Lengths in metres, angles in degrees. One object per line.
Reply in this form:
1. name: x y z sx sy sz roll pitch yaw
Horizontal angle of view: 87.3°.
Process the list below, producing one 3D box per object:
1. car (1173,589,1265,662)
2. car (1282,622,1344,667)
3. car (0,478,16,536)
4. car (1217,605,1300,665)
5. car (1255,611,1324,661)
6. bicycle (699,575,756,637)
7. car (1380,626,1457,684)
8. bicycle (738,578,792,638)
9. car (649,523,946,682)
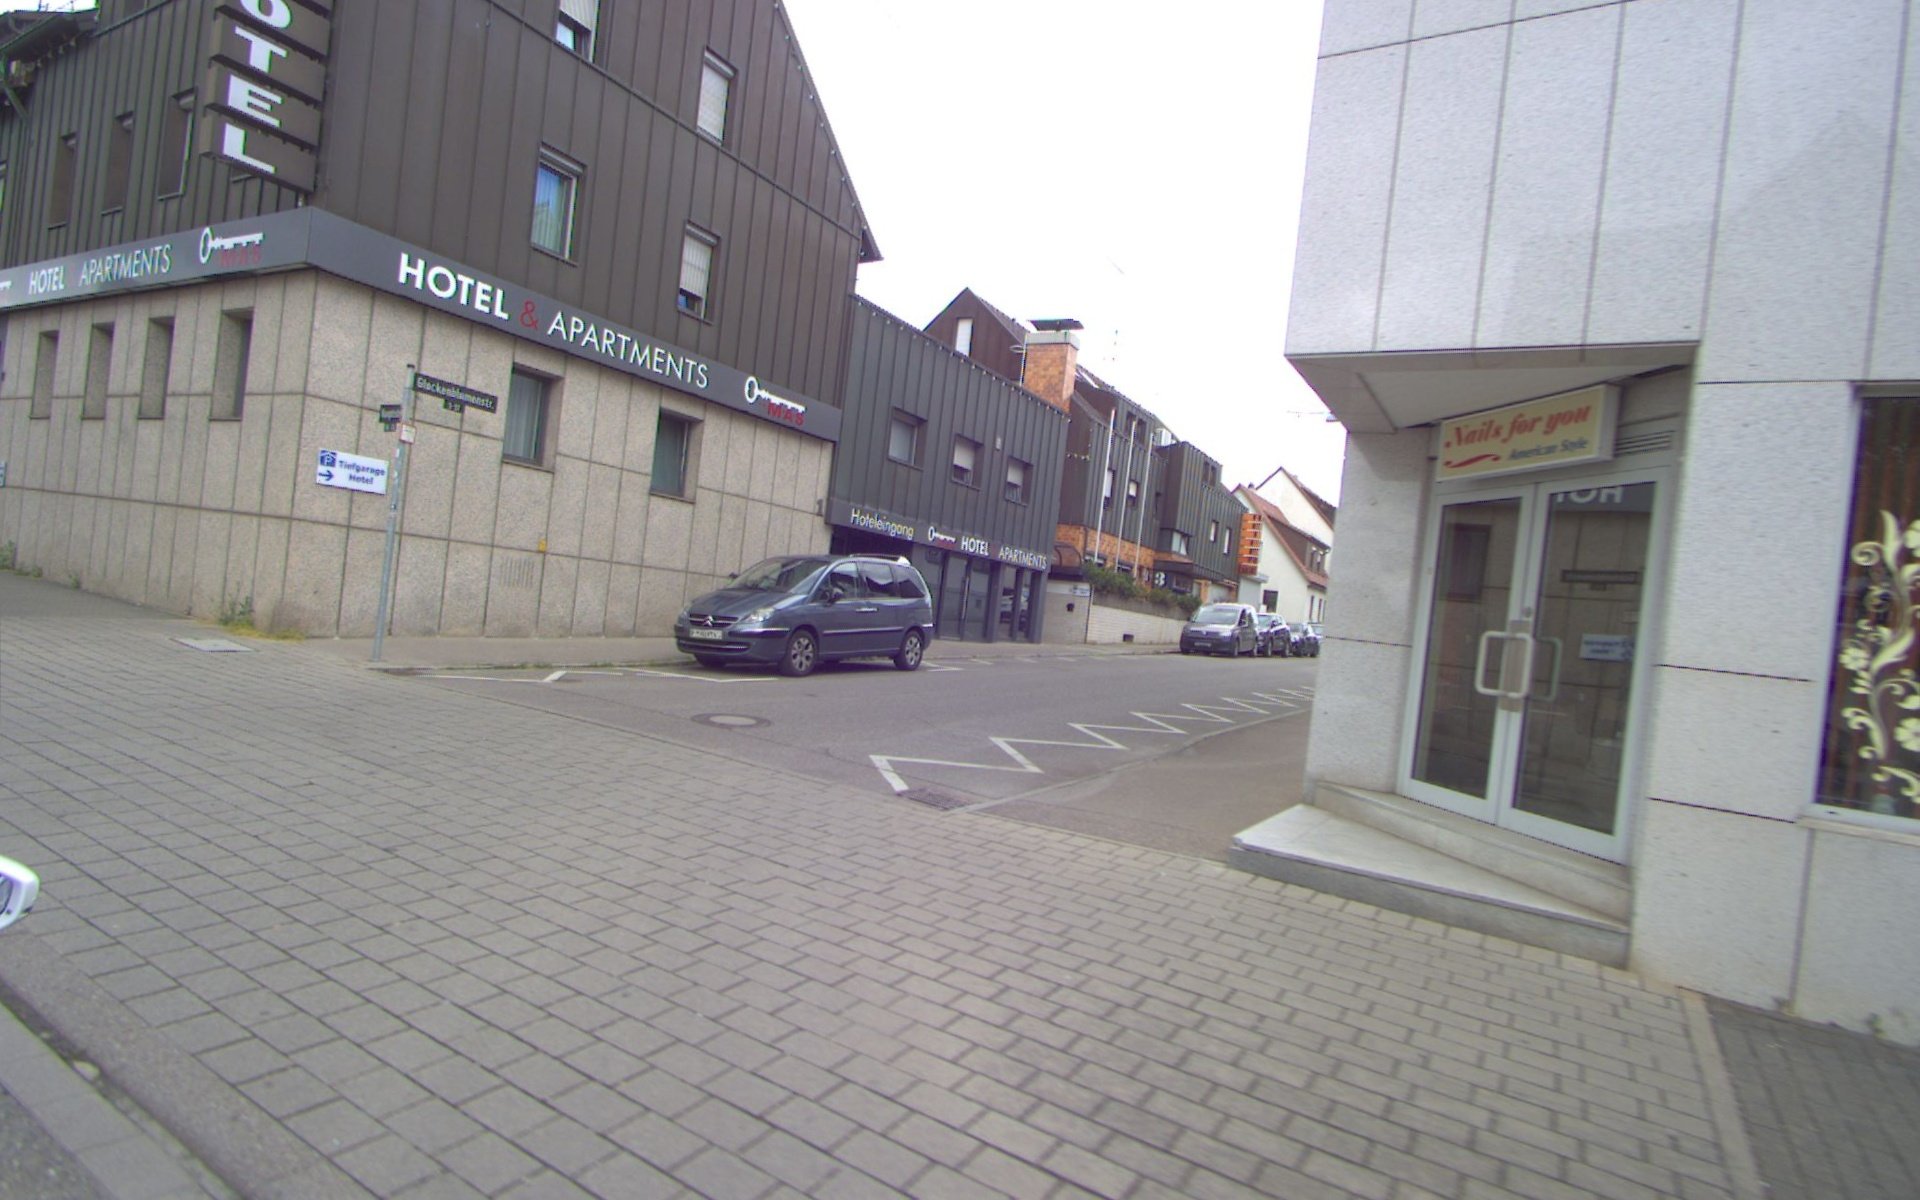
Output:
1. car: 8.644 0.904 33.338 1.839 1.948 3.996 7 -1 29
2. car: 16.507 2.094 46.945 1.839 1.663 4.121 7 -2 30
3. car: -28.373 -2.854 27.023 1.660 1.584 3.988 7 -2 32
4. car: 11.228 1.348 37.609 1.839 1.792 4.410 7 -2 30
5. car: 14.031 1.557 42.671 1.839 1.663 4.121 7 -2 30
6. bicycle: -3.983 0.104 17.237 0.620 0.986 0.606 8 2 31
7. car: 16.842 2.050 36.863 1.935 1.724 4.034 7 -2 32
8. bicycle: -3.495 0.153 18.053 0.620 0.986 0.606 8 2 31
9. car: -2.225 0.098 15.143 1.897 1.890 4.485 7 1 29
